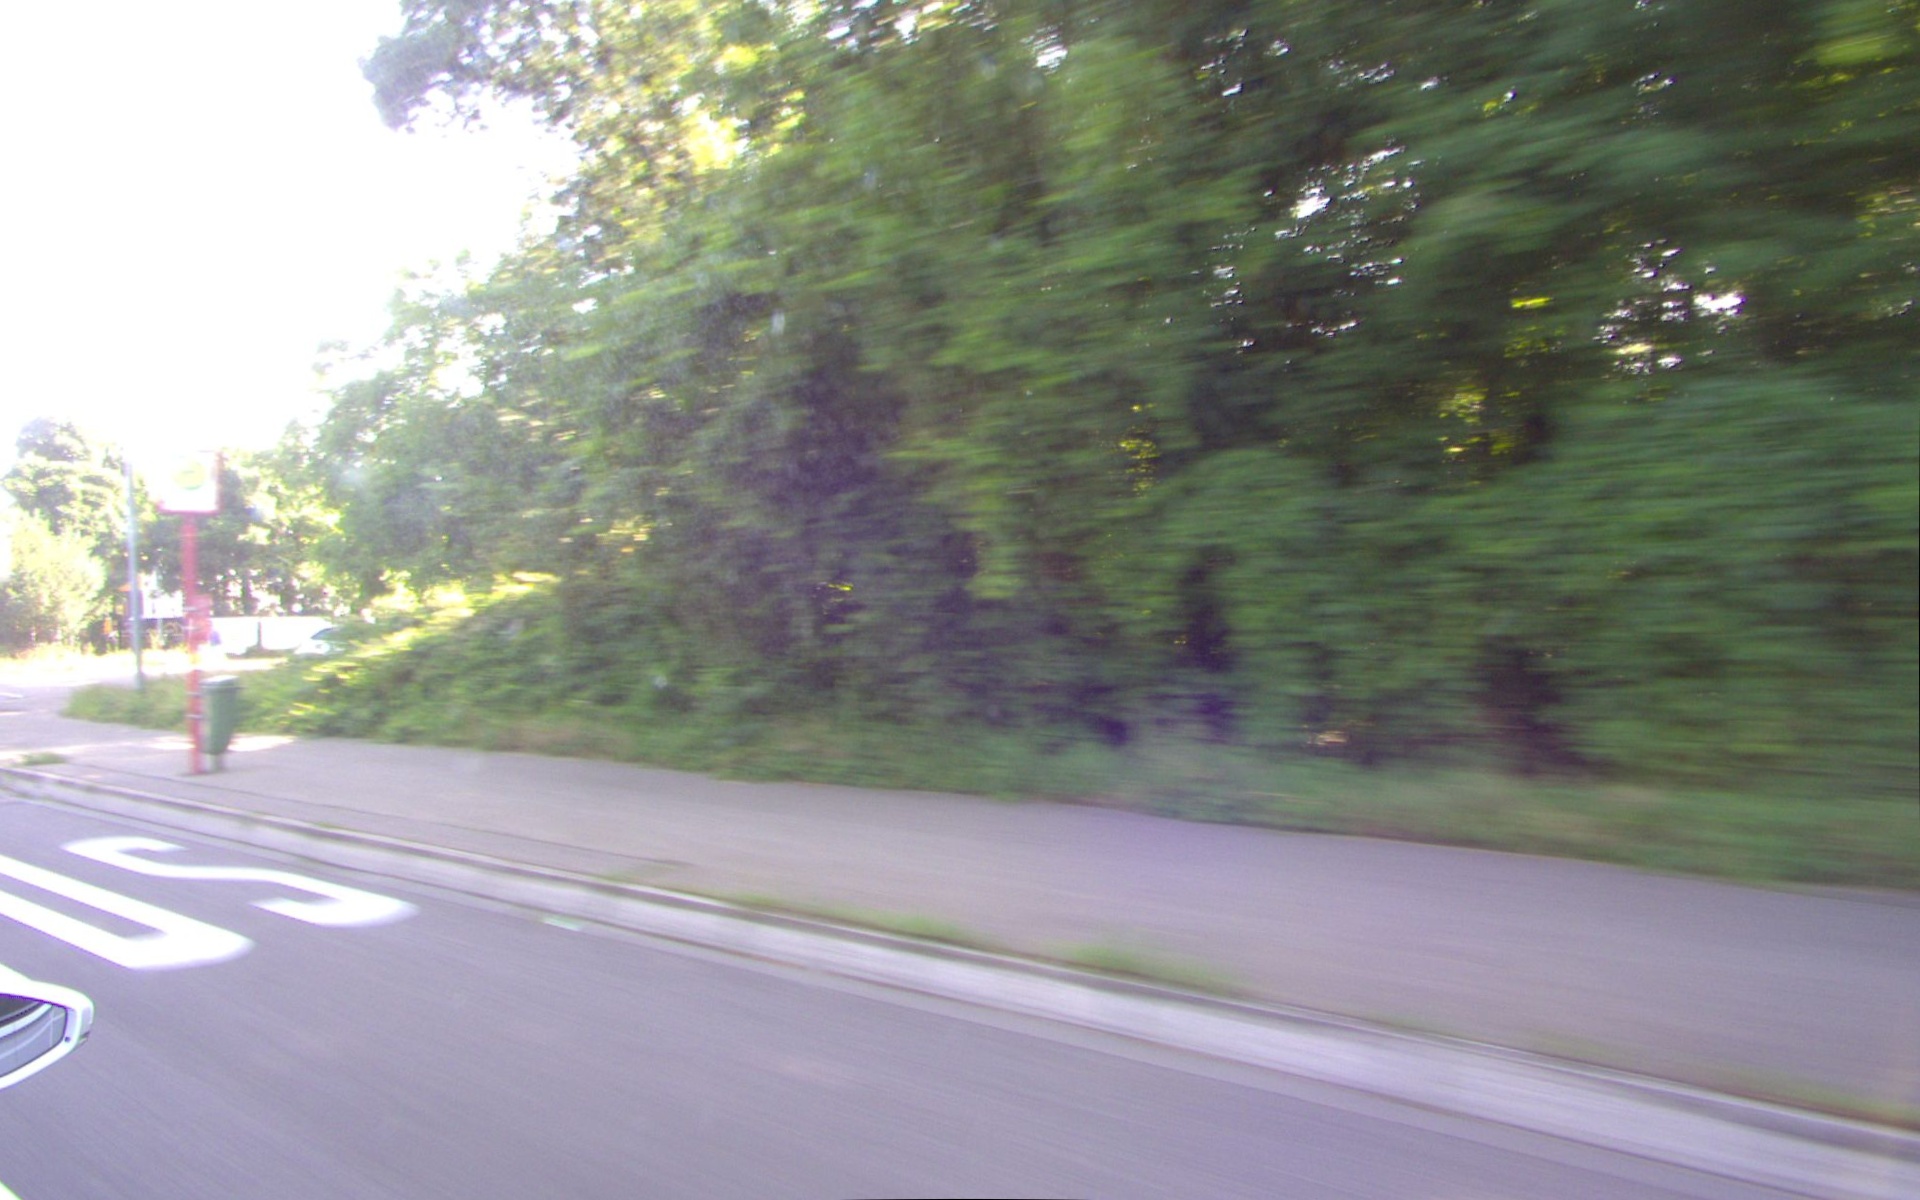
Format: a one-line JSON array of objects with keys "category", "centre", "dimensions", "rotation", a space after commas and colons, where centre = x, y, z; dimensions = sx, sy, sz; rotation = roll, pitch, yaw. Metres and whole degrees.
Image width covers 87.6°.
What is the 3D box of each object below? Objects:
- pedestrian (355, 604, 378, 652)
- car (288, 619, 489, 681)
[{"category": "pedestrian", "centre": [-20.670, 0.958, 34.854], "dimensions": [0.602, 1.651, 0.411], "rotation": [-2, 1, -38]}, {"category": "car", "centre": [-14.665, 1.265, 25.752], "dimensions": [4.528, 1.483, 1.627], "rotation": [-1, 1, 12]}]
